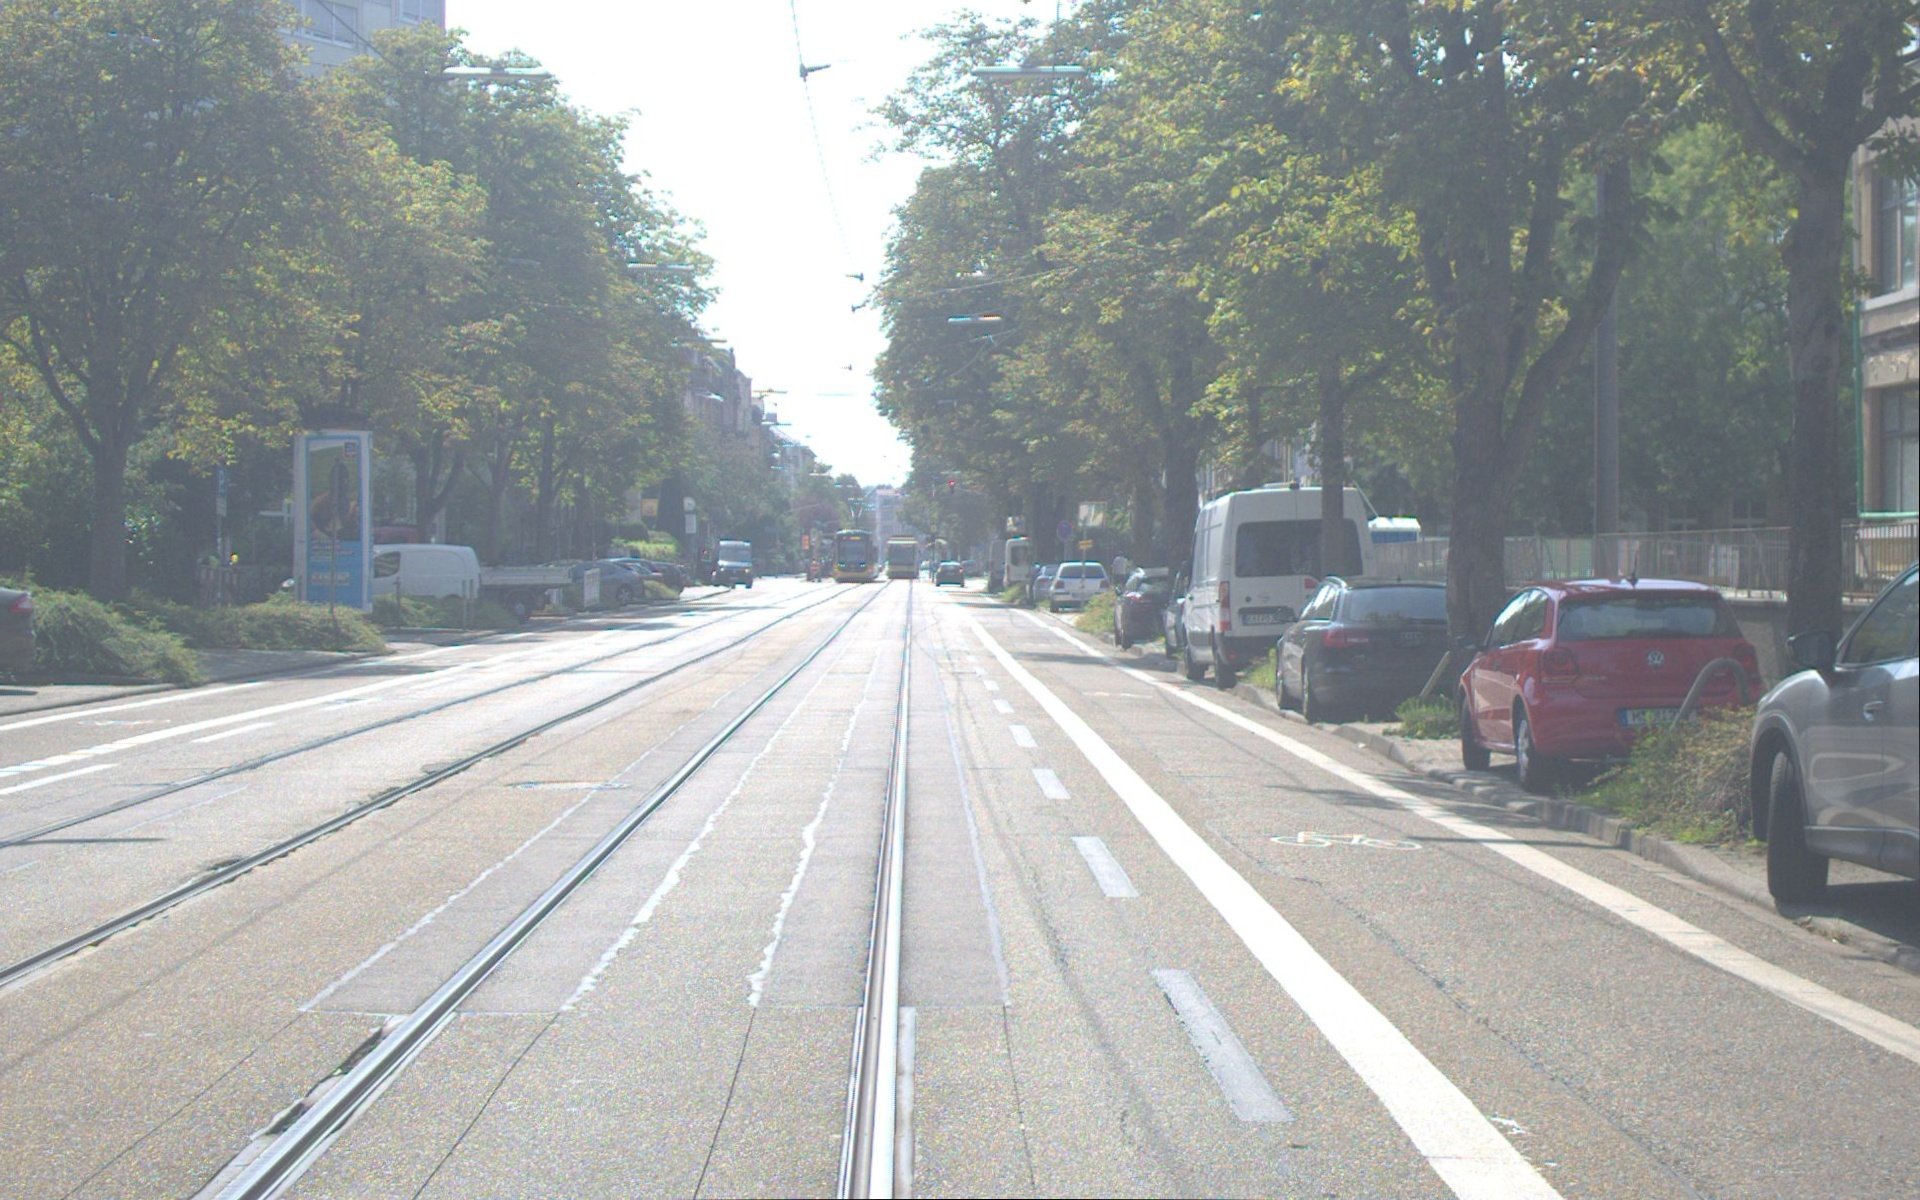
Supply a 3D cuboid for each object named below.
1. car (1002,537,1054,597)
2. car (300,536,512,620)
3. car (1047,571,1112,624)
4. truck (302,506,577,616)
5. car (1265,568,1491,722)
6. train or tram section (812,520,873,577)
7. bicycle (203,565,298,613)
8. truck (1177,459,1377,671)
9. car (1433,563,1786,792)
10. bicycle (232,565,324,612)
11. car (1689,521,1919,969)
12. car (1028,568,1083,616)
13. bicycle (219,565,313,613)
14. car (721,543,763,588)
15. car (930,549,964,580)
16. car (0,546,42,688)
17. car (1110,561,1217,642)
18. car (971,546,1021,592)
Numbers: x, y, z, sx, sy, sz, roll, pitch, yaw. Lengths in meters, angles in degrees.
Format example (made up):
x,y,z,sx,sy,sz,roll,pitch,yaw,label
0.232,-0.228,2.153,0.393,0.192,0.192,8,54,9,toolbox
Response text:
x,y,z,sx,sy,sz,roll,pitch,yaw,label
2.735,-1.329,139.364,1.993,2.357,4.000,1,0,0,car
-12.048,-0.485,74.887,4.274,1.766,1.824,-1,1,-43,car
3.394,-0.081,97.881,1.791,1.441,3.732,-1,0,2,car
-11.869,-0.886,78.658,5.951,2.426,2.150,0,1,-39,truck
4.165,0.412,34.888,1.685,1.435,4.803,0,0,0,car
-7.731,-3.418,228.234,3.497,3.691,12.412,1,1,0,train or tram section
-18.228,-0.285,88.329,2.340,1.165,0.621,2,0,18,bicycle
4.077,-0.448,45.105,1.916,2.590,5.593,0,0,-2,truck
4.579,0.502,24.789,1.685,1.495,4.132,0,0,-1,car
-17.825,-0.302,89.850,2.340,1.165,0.562,2,0,16,bicycle
4.462,0.537,14.232,1.762,1.683,4.649,1,1,-2,car
3.091,-0.256,111.465,1.641,1.506,3.641,1,0,0,car
-18.003,-0.283,89.142,2.340,1.165,0.621,2,0,17,bicycle
-12.008,-1.886,189.011,2.242,2.433,4.001,1,0,-4,car
-0.781,-2.096,206.110,1.993,1.795,4.000,1,0,0,car
-12.039,0.161,36.232,4.281,1.492,1.781,0,1,-26,car
3.784,0.005,64.421,1.674,1.453,4.664,-1,1,-1,car
1.715,-1.493,166.216,1.993,2.226,4.001,0,1,-5,car
